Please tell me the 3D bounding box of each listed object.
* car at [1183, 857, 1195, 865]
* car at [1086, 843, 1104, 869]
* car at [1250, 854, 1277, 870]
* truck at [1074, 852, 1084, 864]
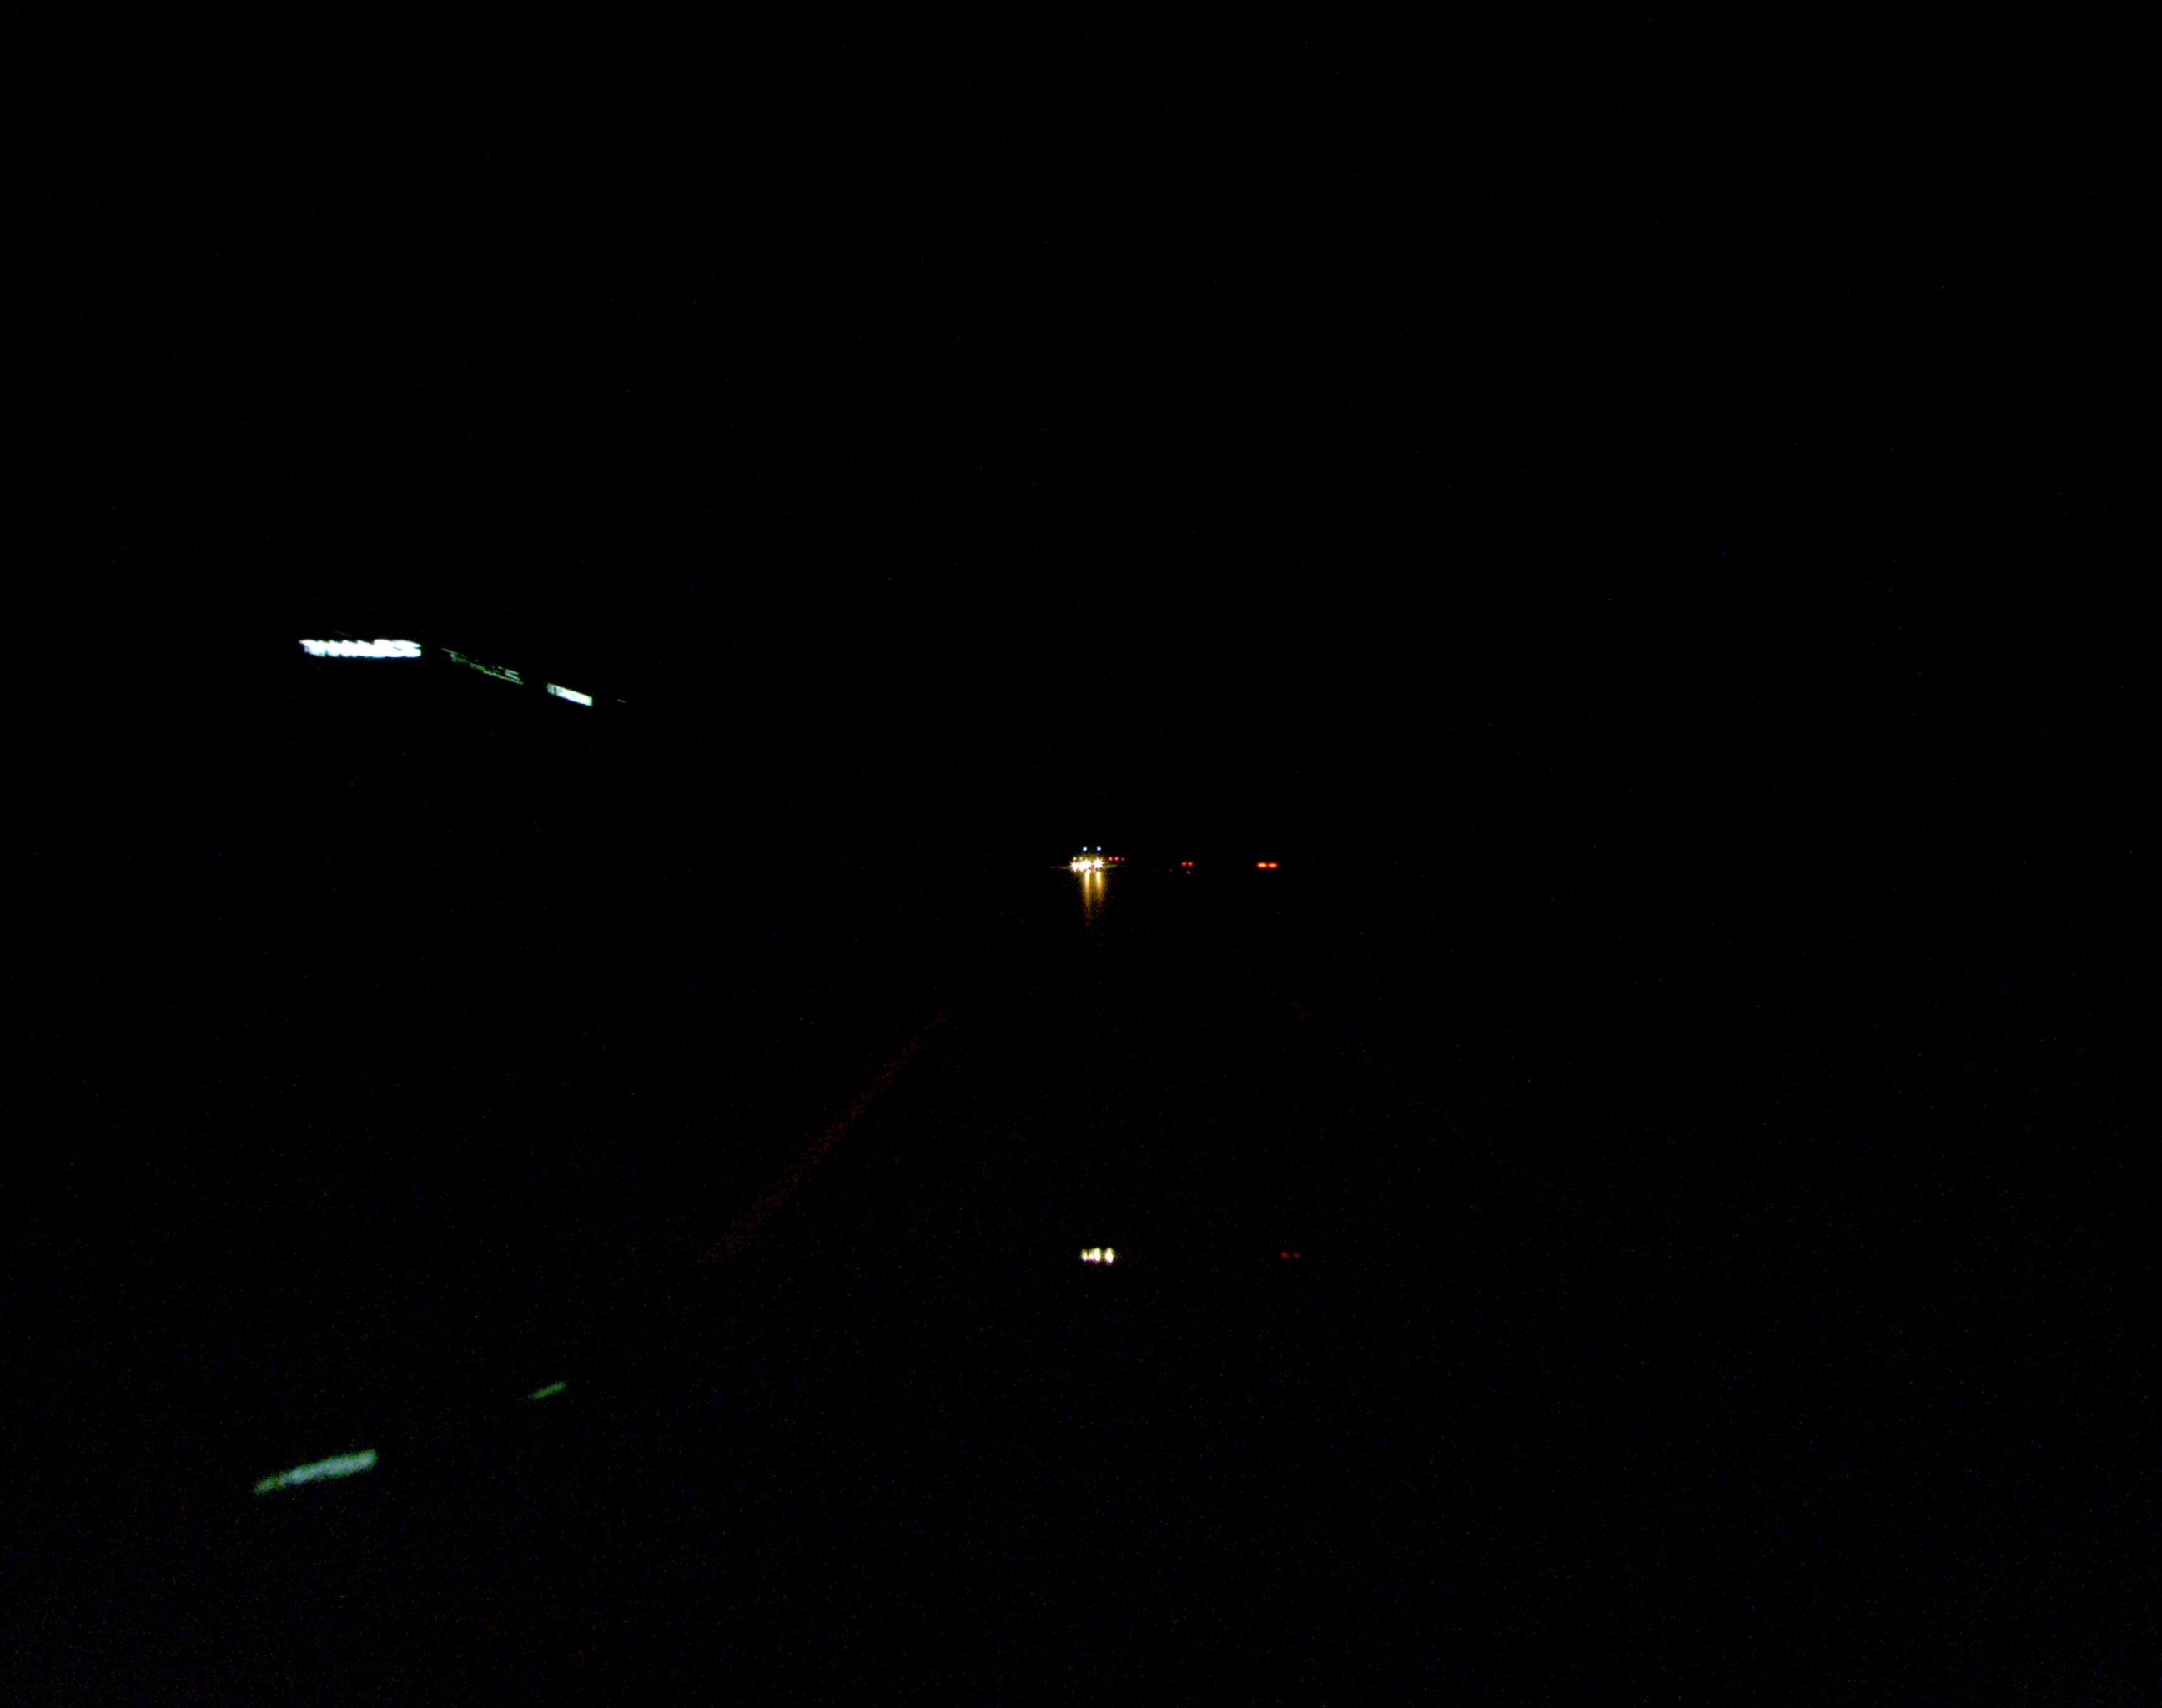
[{"bbox_3d":[22.840,1.537,160.881,1.908,1.611,4.656,-1,0,1],"label":"car"},{"bbox_3d":[1.861,0.232,100.643,2.255,3.205,6.878,-2,0,1],"label":"car"},{"bbox_3d":[21.203,0.876,88.356,1.908,1.625,5.045,-3,1,1],"label":"car"},{"bbox_3d":[-0.765,1.226,243.856,3.042,3.726,7.560,-1,0,1],"label":"truck"}]
